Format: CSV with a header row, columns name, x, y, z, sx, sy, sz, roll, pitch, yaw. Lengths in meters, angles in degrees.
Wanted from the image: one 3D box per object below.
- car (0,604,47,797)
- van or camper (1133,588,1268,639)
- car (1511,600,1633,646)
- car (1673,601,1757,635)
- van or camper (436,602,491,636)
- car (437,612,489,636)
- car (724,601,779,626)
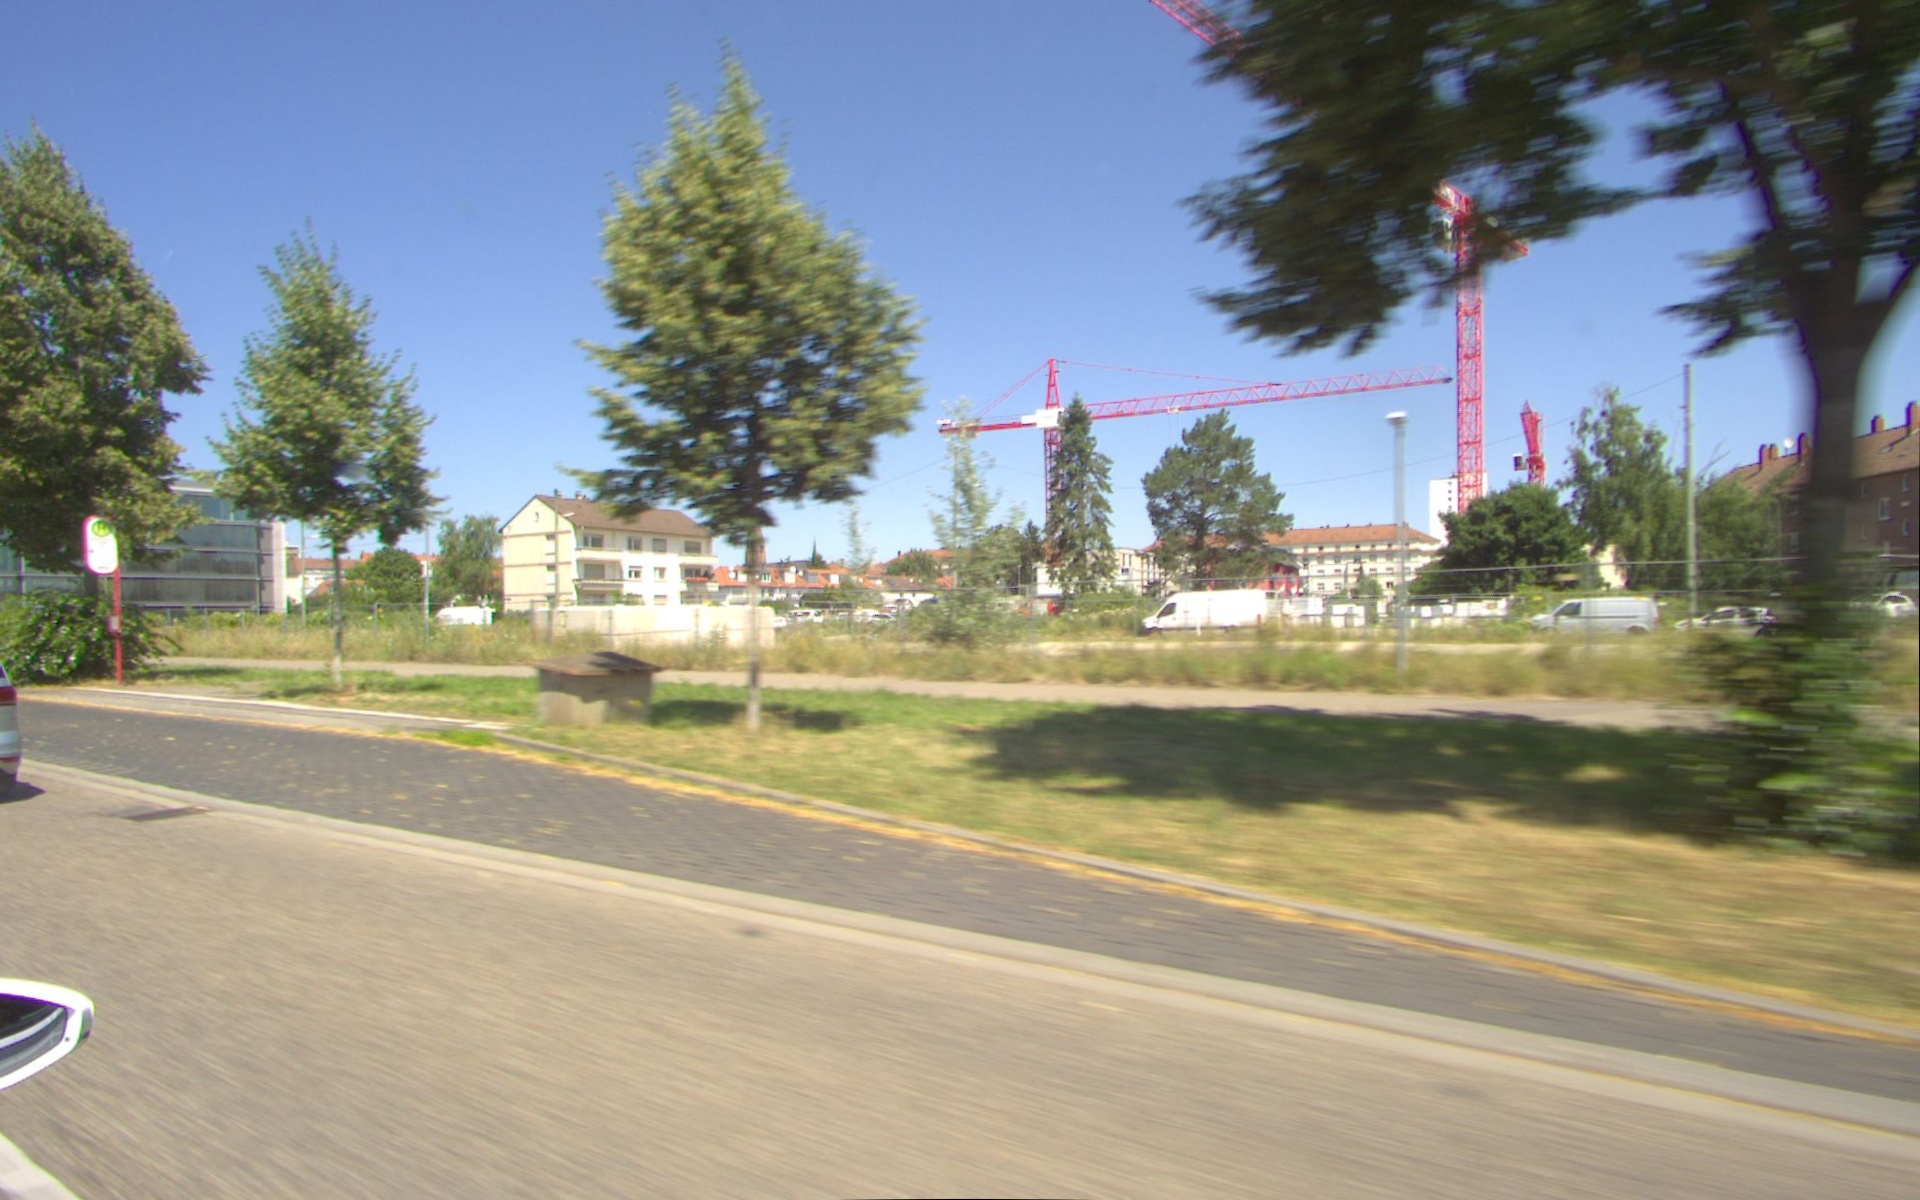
name,x,y,z,sx,sy,sz,roll,pitch,yaw
car,-10.550,0.919,9.410,4.541,1.669,1.798,-2,-4,33
van or camper,13.072,0.770,54.709,6.898,2.636,1.921,-1,0,30
car,28.148,1.061,46.240,4.605,2.040,1.779,-1,0,24
car,32.837,0.774,43.613,2.750,1.425,1.411,0,2,32
van or camper,-43.049,1.657,86.750,4.590,2.838,1.992,-1,0,28
car,-43.045,2.056,86.751,4.110,2.040,1.992,-1,-1,28
car,-14.665,0.972,70.501,3.568,1.607,1.672,-2,0,29
